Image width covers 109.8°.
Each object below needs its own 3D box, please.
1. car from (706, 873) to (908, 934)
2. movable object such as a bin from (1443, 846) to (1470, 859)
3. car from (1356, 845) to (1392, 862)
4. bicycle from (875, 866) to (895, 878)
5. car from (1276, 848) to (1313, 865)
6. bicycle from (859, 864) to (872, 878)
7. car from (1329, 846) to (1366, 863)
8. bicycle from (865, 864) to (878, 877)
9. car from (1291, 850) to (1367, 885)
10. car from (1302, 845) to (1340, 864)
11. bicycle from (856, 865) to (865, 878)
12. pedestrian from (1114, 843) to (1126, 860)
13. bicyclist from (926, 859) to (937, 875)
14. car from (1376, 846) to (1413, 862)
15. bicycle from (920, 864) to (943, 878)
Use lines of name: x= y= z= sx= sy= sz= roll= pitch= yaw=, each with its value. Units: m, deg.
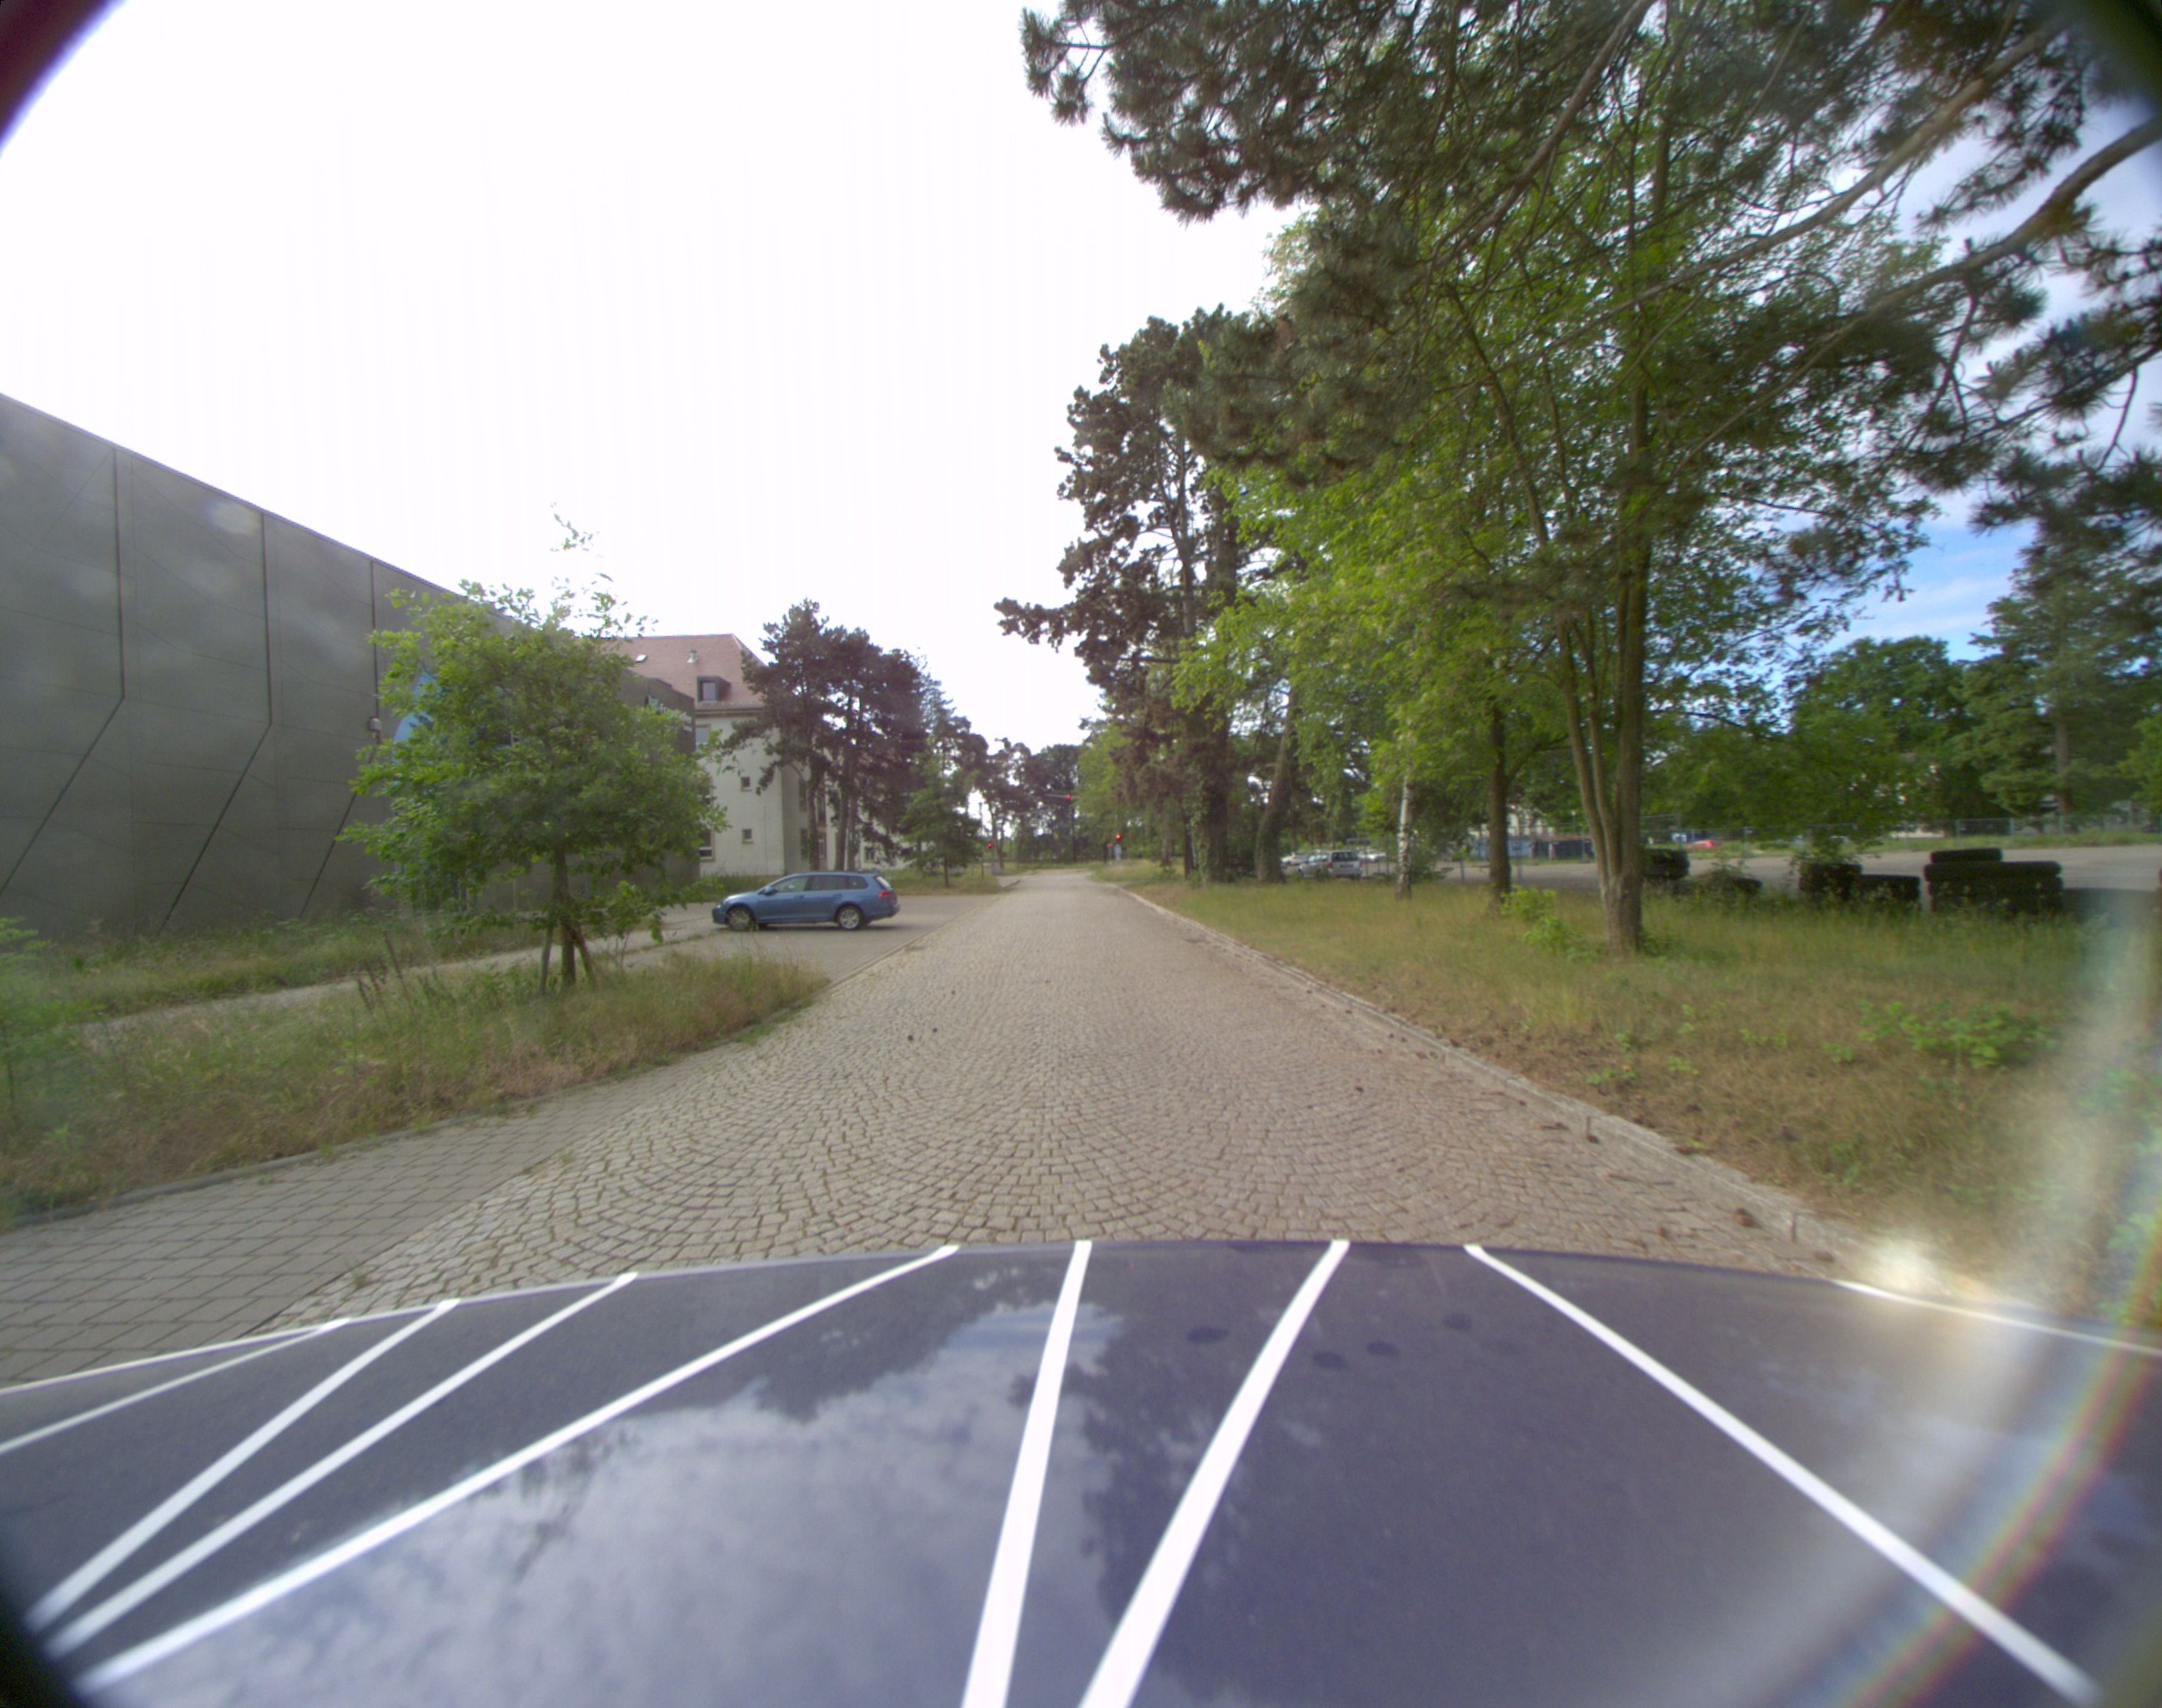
car: x=-6.896 y=1.227 z=19.527 sx=4.535 sy=1.435 sz=1.823 roll=0 pitch=0 yaw=-5
movable object such as a bin: x=29.805 y=-0.114 z=60.320 sx=1.041 sy=0.927 sz=1.934 roll=-1 pitch=0 yaw=-9
car: x=28.279 y=-0.027 z=73.376 sx=1.737 sy=1.512 sz=4.114 roll=-2 pitch=-2 yaw=-2
bicycle: x=-19.955 y=1.856 z=77.266 sx=1.836 sy=1.079 sz=0.572 roll=-2 pitch=2 yaw=1
car: x=20.308 y=0.280 z=72.354 sx=1.840 sy=1.441 sz=4.655 roll=-2 pitch=-2 yaw=-4
bicycle: x=-22.338 y=1.743 z=78.732 sx=0.572 sy=1.324 sz=1.839 roll=-2 pitch=0 yaw=6
car: x=25.544 y=0.102 z=73.008 sx=1.840 sy=1.460 sz=4.585 roll=-2 pitch=-2 yaw=-2
bicycle: x=-21.716 y=1.733 z=78.871 sx=0.572 sy=1.324 sz=1.839 roll=-2 pitch=0 yaw=6
car: x=11.191 y=0.569 z=34.622 sx=1.720 sy=1.430 sz=4.465 roll=-2 pitch=0 yaw=-4
car: x=22.901 y=0.089 z=72.701 sx=1.840 sy=1.568 sz=4.584 roll=-2 pitch=-2 yaw=-4
bicycle: x=-22.835 y=1.773 z=78.726 sx=0.482 sy=1.324 sz=1.837 roll=-2 pitch=0 yaw=-7
pedestrian: x=3.455 y=-0.236 z=67.930 sx=0.883 sy=1.509 sz=0.822 roll=-2 pitch=0 yaw=12
bicyclist: x=-15.185 y=1.297 z=77.089 sx=0.918 sy=1.625 sz=0.963 roll=-2 pitch=0 yaw=-16
car: x=34.701 y=-0.015 z=84.246 sx=1.840 sy=1.549 sz=4.584 roll=-2 pitch=-2 yaw=-4
bicycle: x=-15.134 y=1.698 z=77.116 sx=2.165 sy=1.268 sz=0.963 roll=-2 pitch=0 yaw=-16
